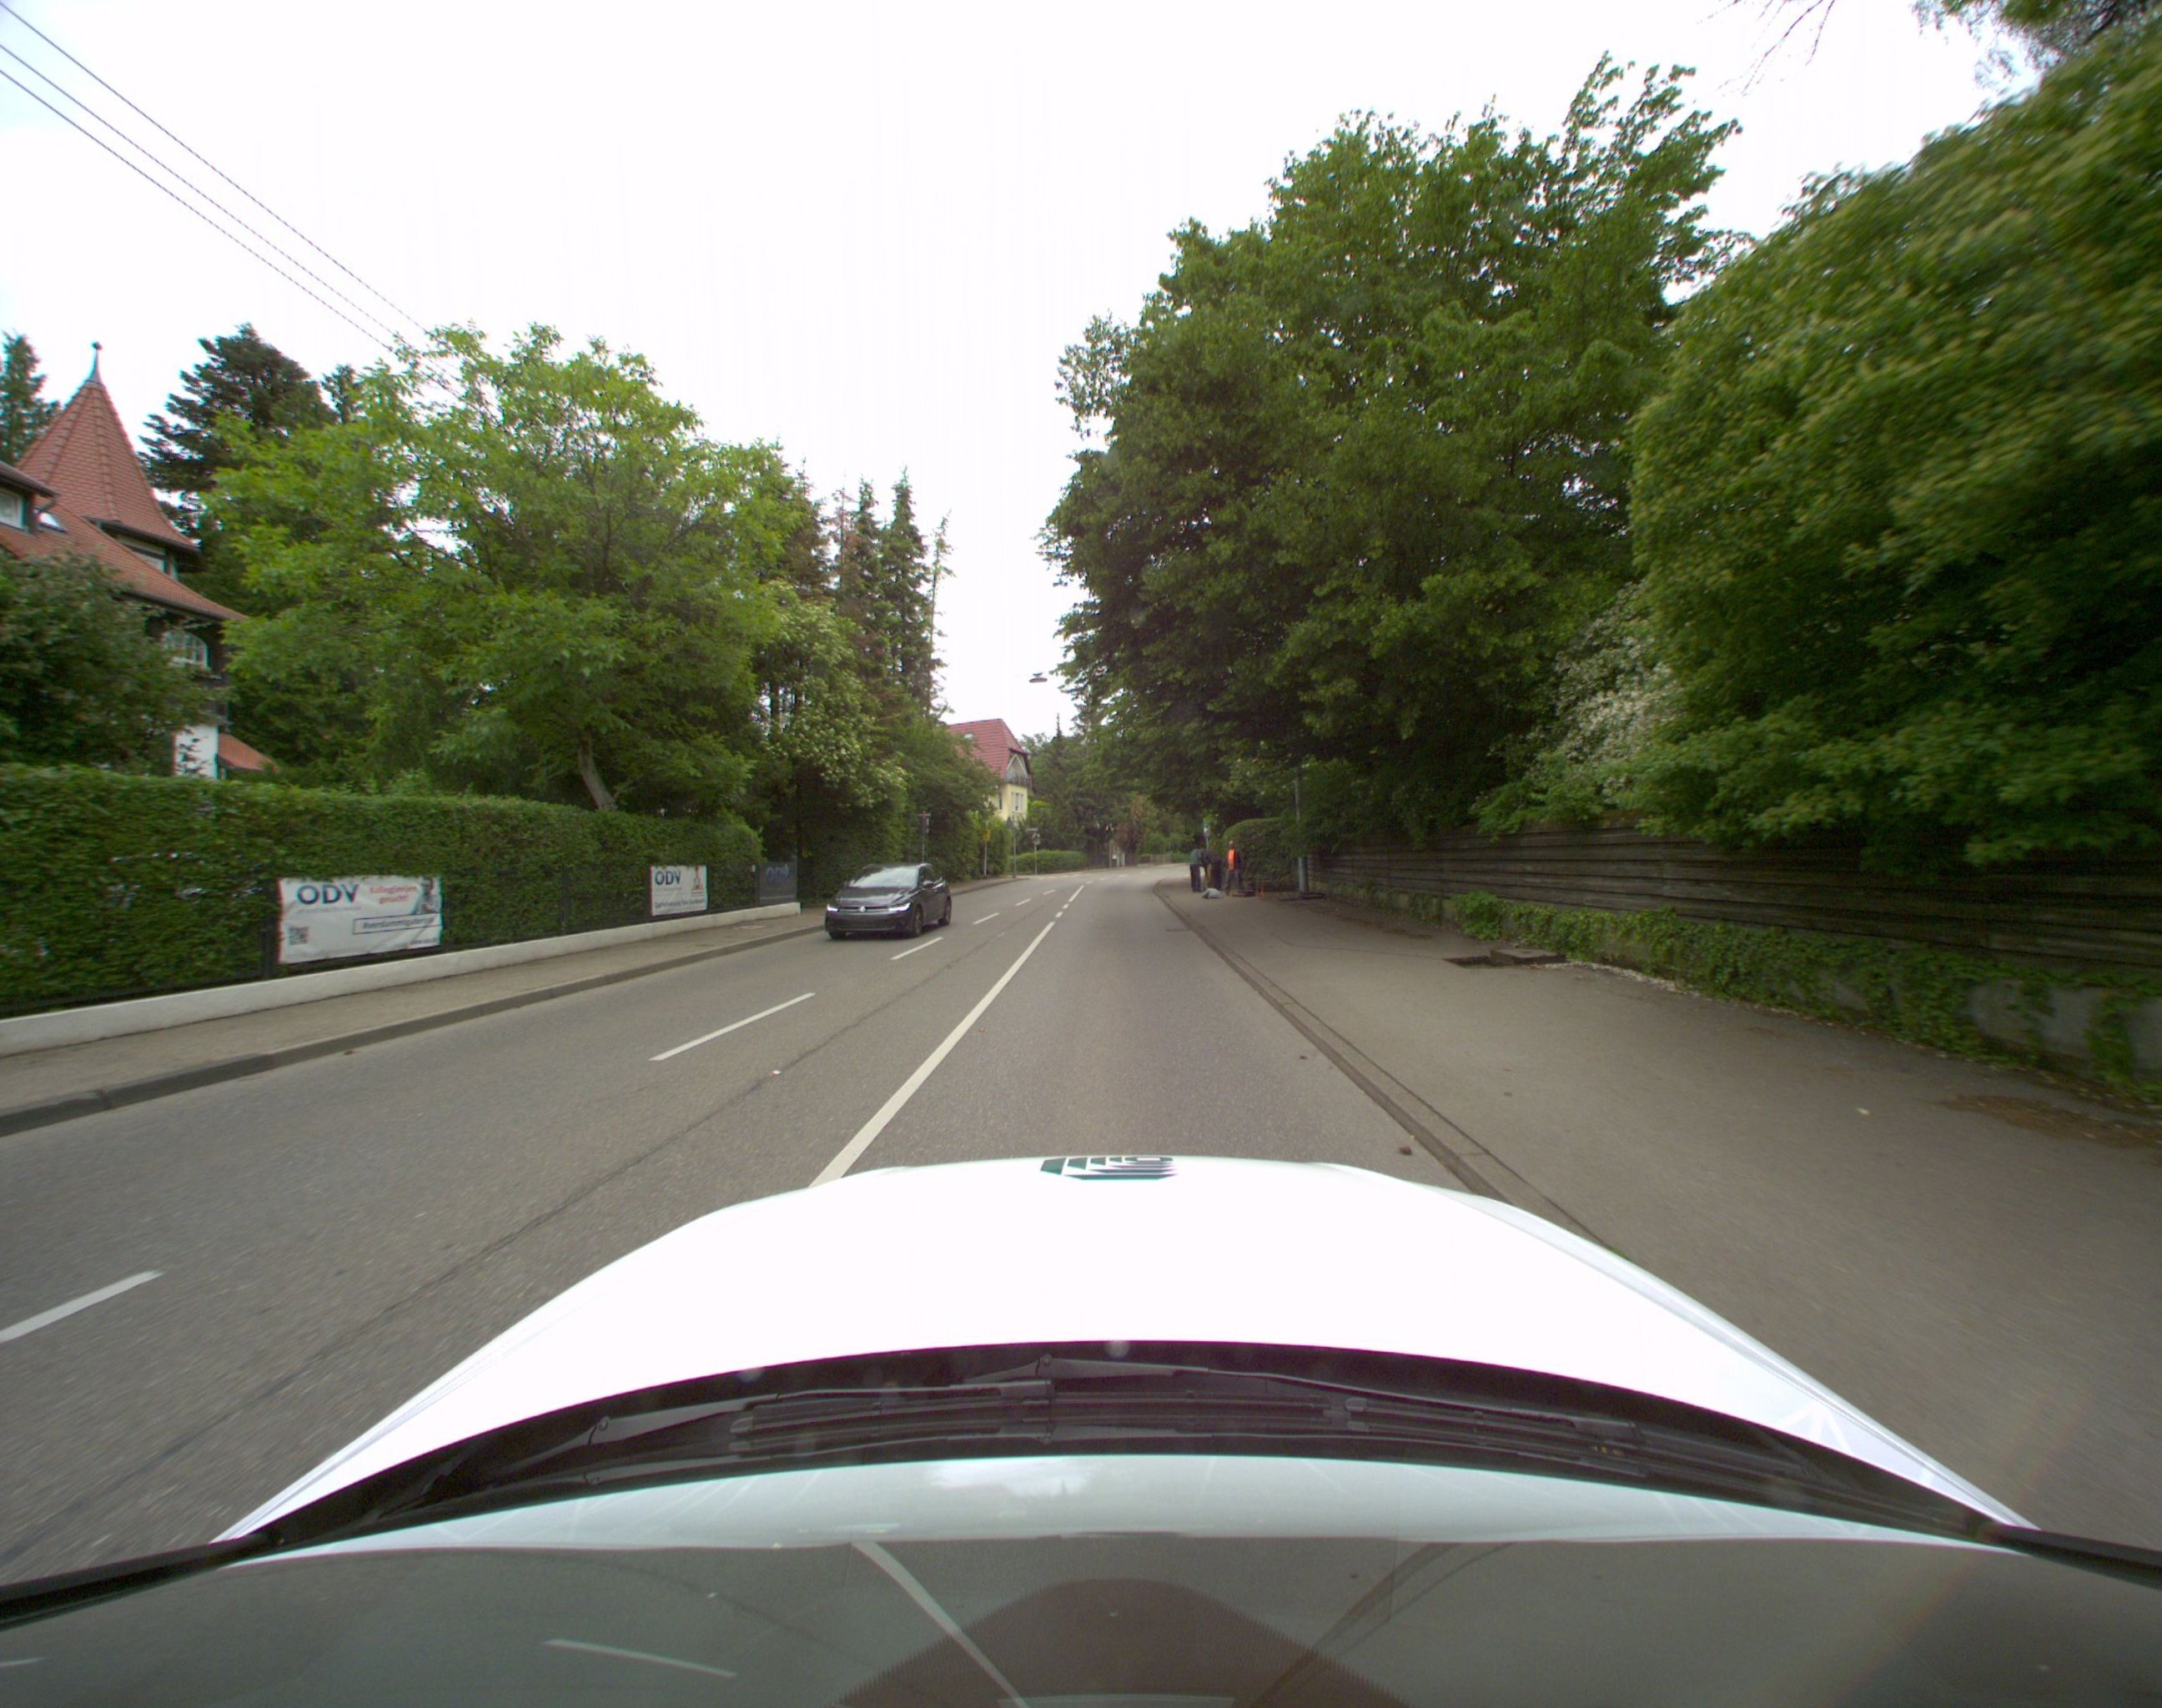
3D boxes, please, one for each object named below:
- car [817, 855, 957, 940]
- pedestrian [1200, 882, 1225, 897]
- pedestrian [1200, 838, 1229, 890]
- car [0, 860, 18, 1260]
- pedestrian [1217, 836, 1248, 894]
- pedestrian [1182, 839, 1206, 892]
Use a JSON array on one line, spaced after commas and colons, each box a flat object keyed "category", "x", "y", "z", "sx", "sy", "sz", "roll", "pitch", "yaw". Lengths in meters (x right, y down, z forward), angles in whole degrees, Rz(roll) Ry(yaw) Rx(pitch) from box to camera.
[{"category": "car", "x": -3.847, "y": 0.794, "z": 16.894, "sx": 1.673, "sy": 1.471, "sz": 4.021, "roll": -2, "pitch": 0, "yaw": 3}, {"category": "pedestrian", "x": 4.052, "y": 1.099, "z": 25.208, "sx": 0.670, "sy": 0.393, "sz": 0.741, "roll": -2, "pitch": 0, "yaw": 1}, {"category": "pedestrian", "x": 4.706, "y": 0.354, "z": 28.637, "sx": 0.694, "sy": 1.807, "sz": 0.665, "roll": -1, "pitch": 0, "yaw": -39}, {"category": "car", "x": -5.058, "y": 0.820, "z": 1.406, "sx": 1.677, "sy": 1.519, "sz": 3.538, "roll": -3, "pitch": 0, "yaw": 3}, {"category": "pedestrian", "x": 4.805, "y": 0.347, "z": 25.805, "sx": 0.804, "sy": 1.807, "sz": 0.741, "roll": -2, "pitch": 0, "yaw": 1}, {"category": "pedestrian", "x": 3.953, "y": 0.406, "z": 28.545, "sx": 0.594, "sy": 1.807, "sz": 0.522, "roll": -2, "pitch": -1, "yaw": 43}]
